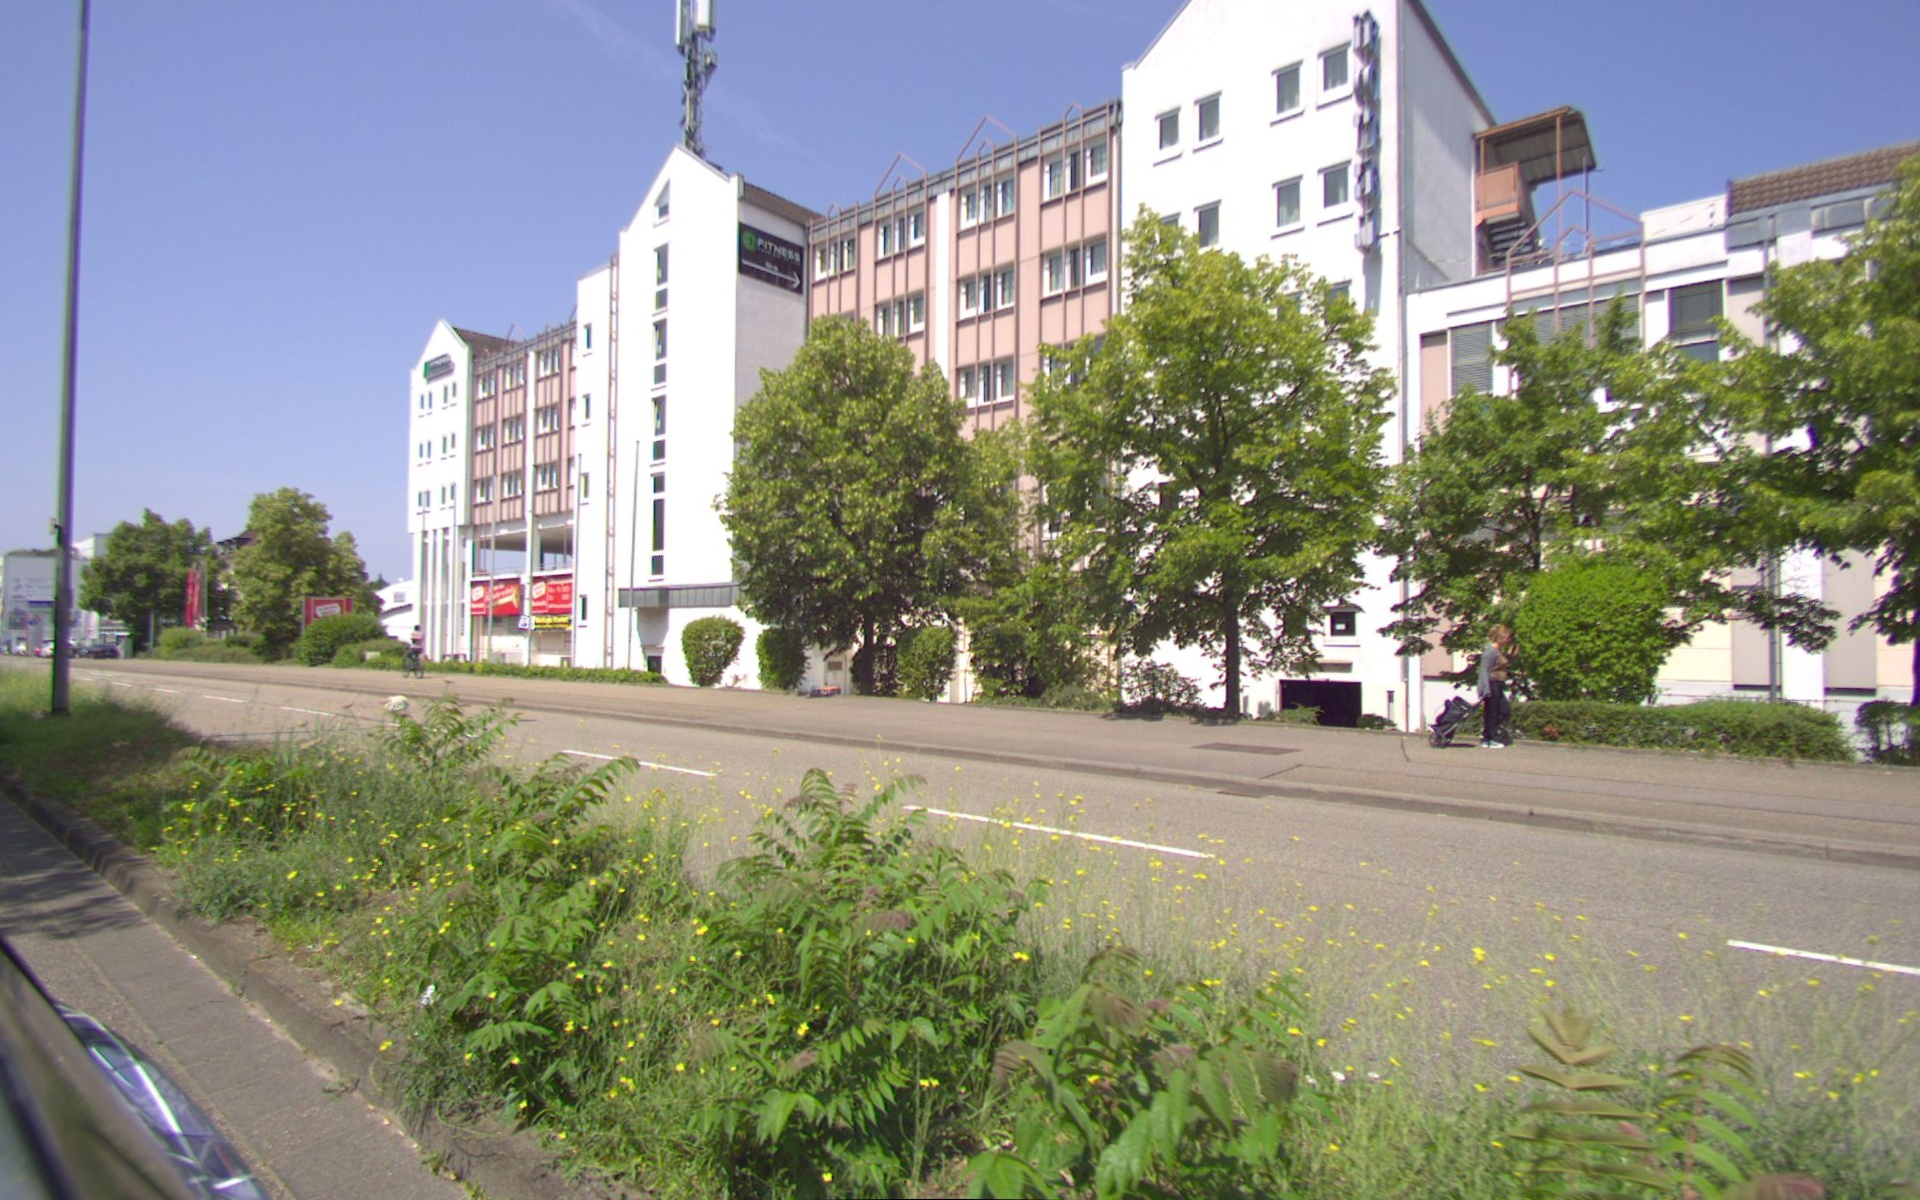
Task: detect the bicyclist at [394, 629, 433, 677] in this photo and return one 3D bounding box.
[{"bbox_3d":[-17.746,1.708,32.844,1.025,1.528,0.710,-2,-3,37],"label":"bicyclist"}]

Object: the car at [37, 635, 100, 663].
[{"bbox_3d":[-89.895,4.879,102.082,4.501,1.719,1.761,-17,11,-42],"label":"car"}]

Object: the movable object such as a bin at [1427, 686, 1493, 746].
[{"bbox_3d":[6.465,1.491,13.097,0.423,0.711,0.653,3,-3,-41],"label":"movable object such as a bin"}]

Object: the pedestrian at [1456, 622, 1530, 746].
[{"bbox_3d":[6.947,1.069,13.188,0.727,1.556,0.626,-2,-3,40],"label":"pedestrian"}]

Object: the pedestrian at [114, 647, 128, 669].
[{"bbox_3d":[-68.873,4.778,83.055,1.033,1.760,0.732,-3,-4,43],"label":"pedestrian"}]

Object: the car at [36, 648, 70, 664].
[{"bbox_3d":[-81.899,5.035,91.376,4.758,1.421,1.756,-3,-5,43],"label":"car"}]

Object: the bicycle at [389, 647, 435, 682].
[{"bbox_3d":[-17.774,2.073,32.797,2.060,1.081,0.545,-2,-2,38],"label":"bicycle"}]

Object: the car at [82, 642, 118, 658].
[{"bbox_3d":[-79.279,4.613,93.281,3.995,1.362,1.715,-2,-4,39],"label":"car"}]
